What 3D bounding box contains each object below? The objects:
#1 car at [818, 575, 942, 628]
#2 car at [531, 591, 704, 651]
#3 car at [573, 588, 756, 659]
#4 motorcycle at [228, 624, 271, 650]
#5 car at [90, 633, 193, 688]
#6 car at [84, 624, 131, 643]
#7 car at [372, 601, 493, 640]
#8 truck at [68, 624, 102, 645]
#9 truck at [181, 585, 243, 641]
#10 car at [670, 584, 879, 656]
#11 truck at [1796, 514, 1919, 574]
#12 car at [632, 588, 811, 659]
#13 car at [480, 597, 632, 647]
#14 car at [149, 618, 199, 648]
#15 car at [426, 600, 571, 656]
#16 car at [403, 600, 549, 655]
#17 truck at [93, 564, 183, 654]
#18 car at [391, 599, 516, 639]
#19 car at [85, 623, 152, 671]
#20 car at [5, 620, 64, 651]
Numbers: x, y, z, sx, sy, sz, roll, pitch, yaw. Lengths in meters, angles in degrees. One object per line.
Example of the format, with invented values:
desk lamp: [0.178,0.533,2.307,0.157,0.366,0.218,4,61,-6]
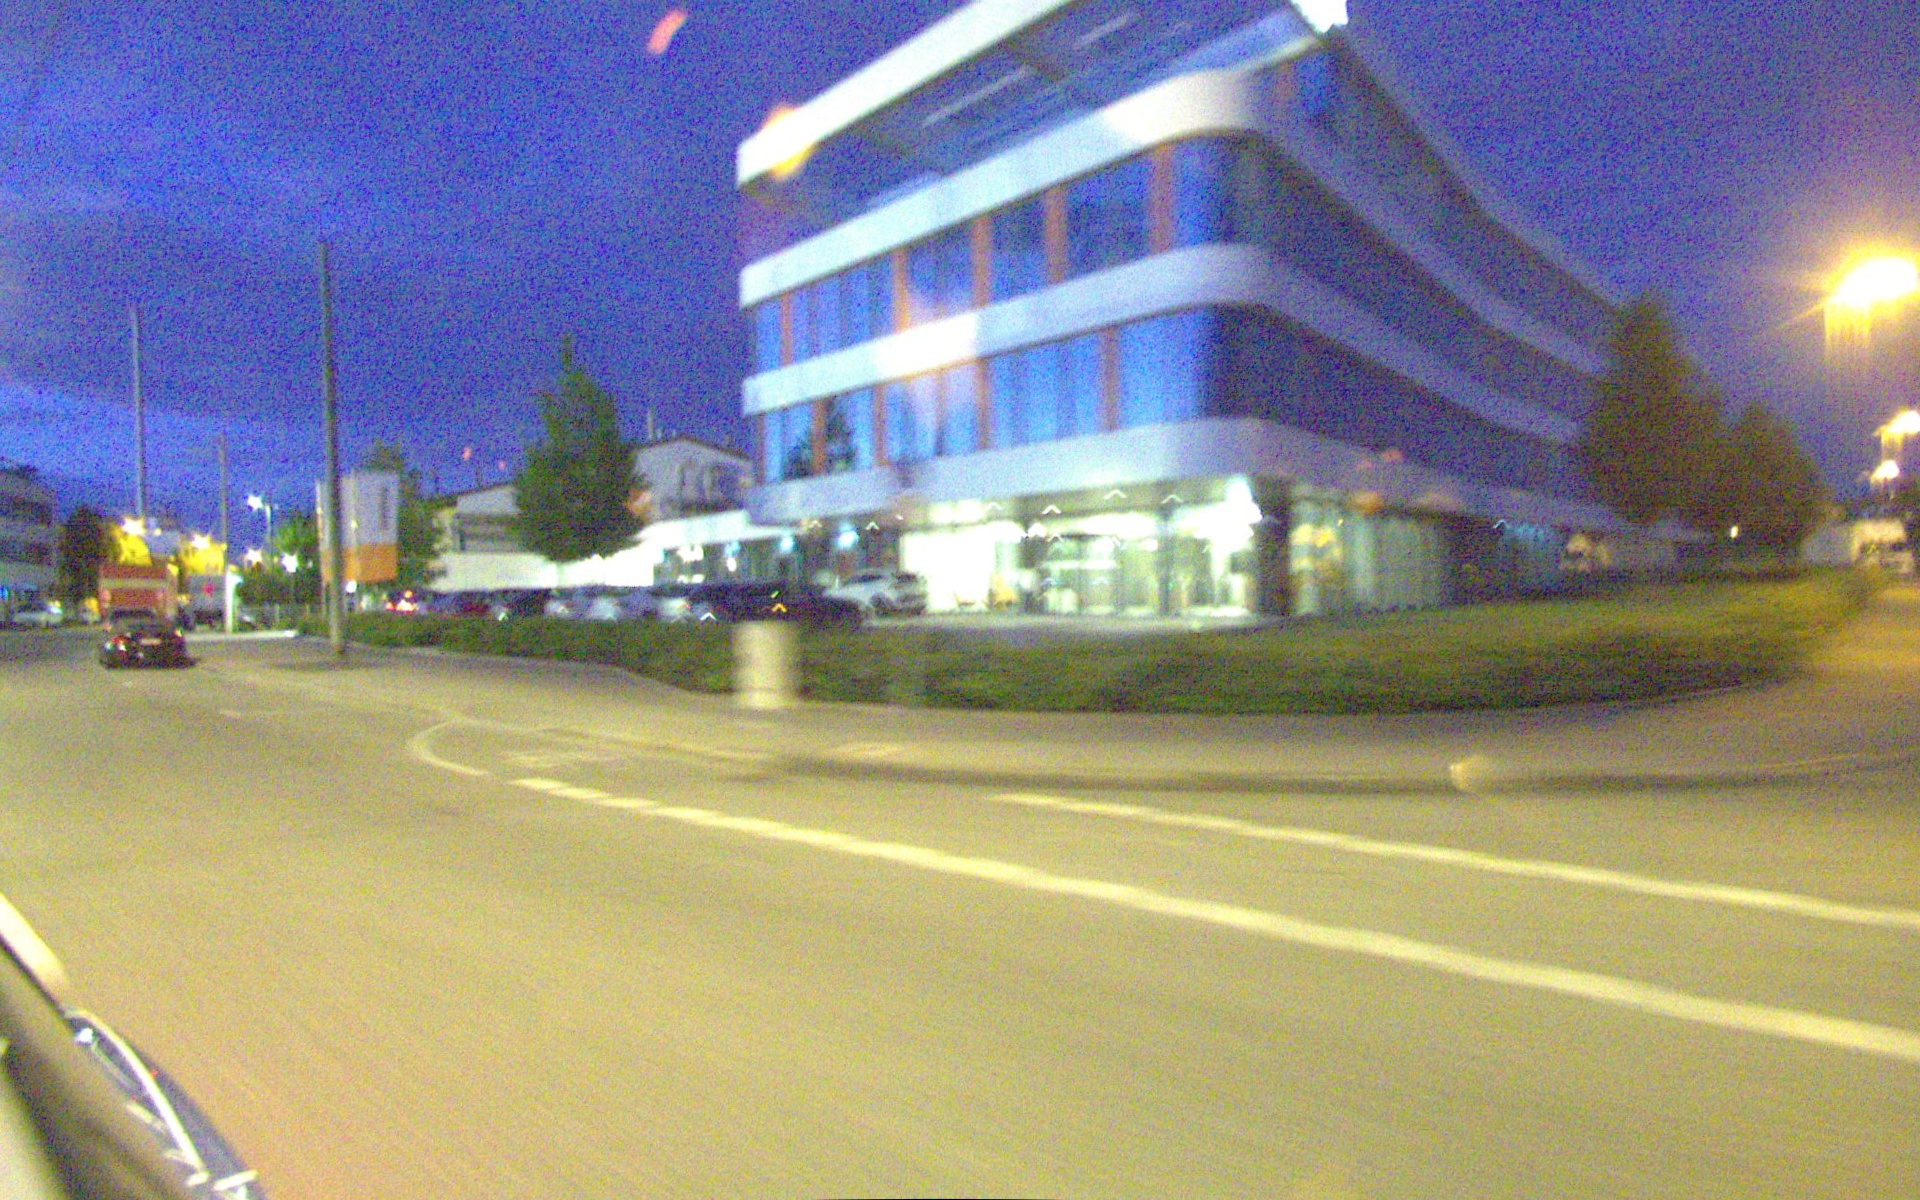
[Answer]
car: [-2.800,0.059,34.787,1.970,1.654,4.206,-3,1,-44]
car: [-9.827,0.561,29.285,4.353,1.490,1.852,-2,1,-45]
car: [-7.951,0.582,27.511,1.963,1.693,4.355,-1,1,44]
motorcycle: [-35.410,1.847,50.450,0.528,1.109,1.680,-1,4,23]
car: [-23.205,1.650,28.625,4.363,1.382,1.793,-1,-2,45]
car: [-75.847,2.940,90.074,1.919,1.500,5.027,-2,0,-25]
car: [-23.128,0.856,44.485,4.353,1.493,1.893,-2,1,-45]
truck: [-74.123,2.893,85.807,1.351,1.657,3.824,-2,1,-29]
truck: [-58.922,0.970,79.916,2.708,4.064,9.590,-2,1,-29]
car: [-4.303,0.418,23.864,4.394,1.463,2.064,-2,1,-41]
truck: [61.356,-3.672,68.965,3.340,3.645,9.638,-2,1,18]
car: [-6.069,0.546,26.029,4.084,1.591,1.843,-2,1,-45]
car: [-13.200,0.685,33.214,4.217,1.404,1.829,-2,1,-45]
car: [-49.557,2.040,63.868,1.917,1.730,5.213,-2,0,-32]
car: [-16.599,0.962,36.530,4.353,1.829,1.964,-2,0,-45]
car: [-18.268,0.988,38.332,4.554,1.829,1.964,-2,1,-45]
truck: [-41.420,0.427,51.261,2.735,4.151,9.365,-1,0,-35]
car: [-21.355,0.771,42.791,4.353,1.463,1.829,-2,1,-45]
car: [-31.715,1.721,38.232,1.843,1.605,4.503,-2,1,-39]
car: [-66.970,2.515,73.324,1.965,2.029,4.927,-1,0,-28]
